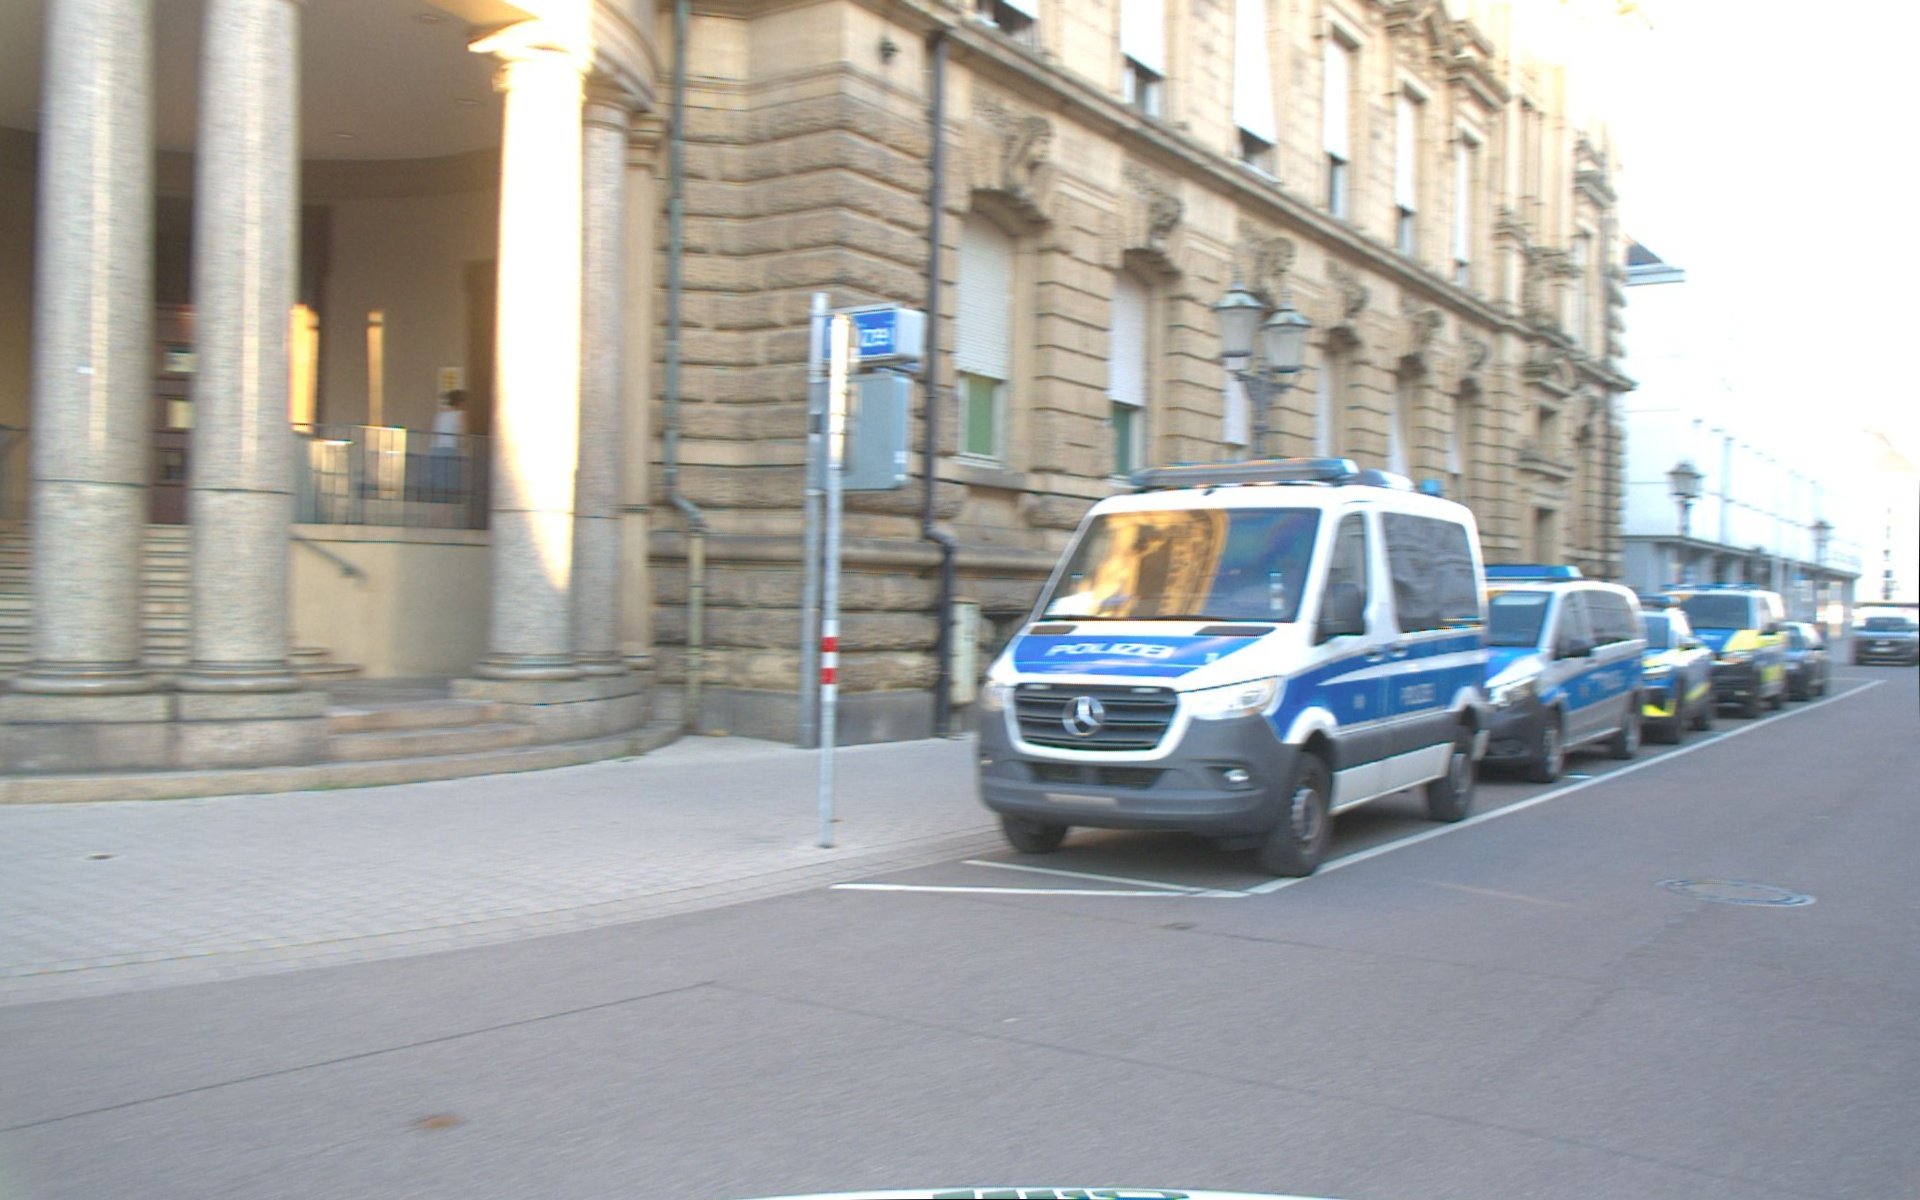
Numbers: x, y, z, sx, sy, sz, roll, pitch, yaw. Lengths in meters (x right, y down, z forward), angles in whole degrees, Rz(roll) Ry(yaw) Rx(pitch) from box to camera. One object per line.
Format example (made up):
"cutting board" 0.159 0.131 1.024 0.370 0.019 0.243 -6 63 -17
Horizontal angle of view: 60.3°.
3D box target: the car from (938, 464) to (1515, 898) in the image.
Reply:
"car" 2.088 0.408 11.148 1.958 2.209 5.193 1 0 32

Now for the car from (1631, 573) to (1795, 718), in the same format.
"car" 12.289 0.696 26.808 1.956 2.114 4.980 1 -1 30

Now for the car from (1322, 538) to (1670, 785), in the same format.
"car" 5.651 0.552 16.933 1.959 2.124 5.188 1 0 35

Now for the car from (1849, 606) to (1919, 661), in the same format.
"car" 29.519 1.035 52.559 1.755 1.643 4.150 1 0 35

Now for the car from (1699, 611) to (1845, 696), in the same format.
"car" 15.996 1.010 32.478 1.960 1.520 4.150 1 0 35

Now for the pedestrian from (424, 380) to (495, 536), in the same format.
"pedestrian" -5.664 -1.588 18.728 0.536 1.711 0.530 1 -1 19

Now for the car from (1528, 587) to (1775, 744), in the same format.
"car" 9.135 0.777 21.585 1.959 1.783 4.972 1 0 35

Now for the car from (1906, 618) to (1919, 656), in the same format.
"car" 37.997 1.422 64.240 1.755 1.433 4.073 1 0 35
